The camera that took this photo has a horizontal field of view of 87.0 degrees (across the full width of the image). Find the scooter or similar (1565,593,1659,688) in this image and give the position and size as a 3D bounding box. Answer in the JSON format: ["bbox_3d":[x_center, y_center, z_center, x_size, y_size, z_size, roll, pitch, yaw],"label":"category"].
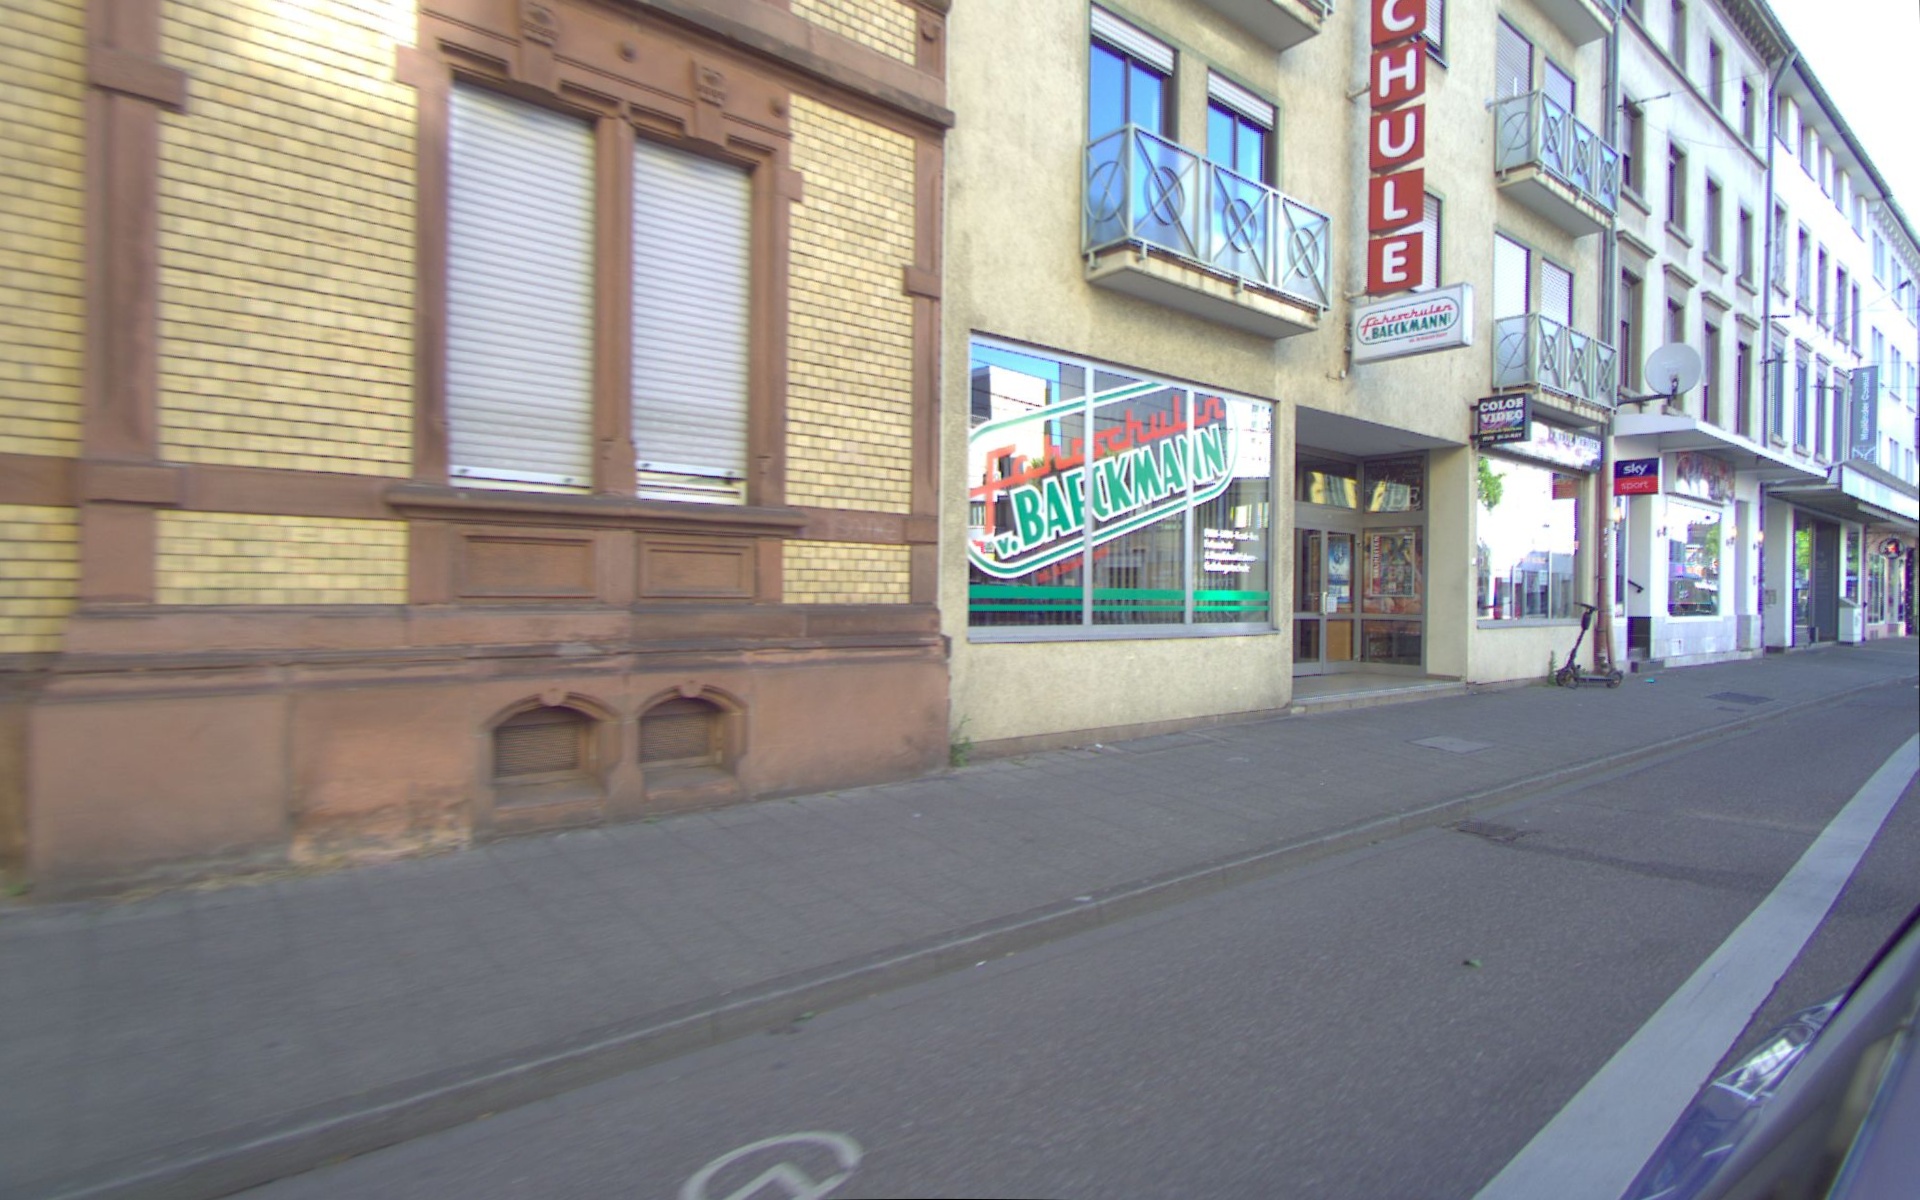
[{"bbox_3d":[9.318,0.572,14.458,1.257,1.297,0.412,1,3,-23],"label":"scooter or similar"}]
